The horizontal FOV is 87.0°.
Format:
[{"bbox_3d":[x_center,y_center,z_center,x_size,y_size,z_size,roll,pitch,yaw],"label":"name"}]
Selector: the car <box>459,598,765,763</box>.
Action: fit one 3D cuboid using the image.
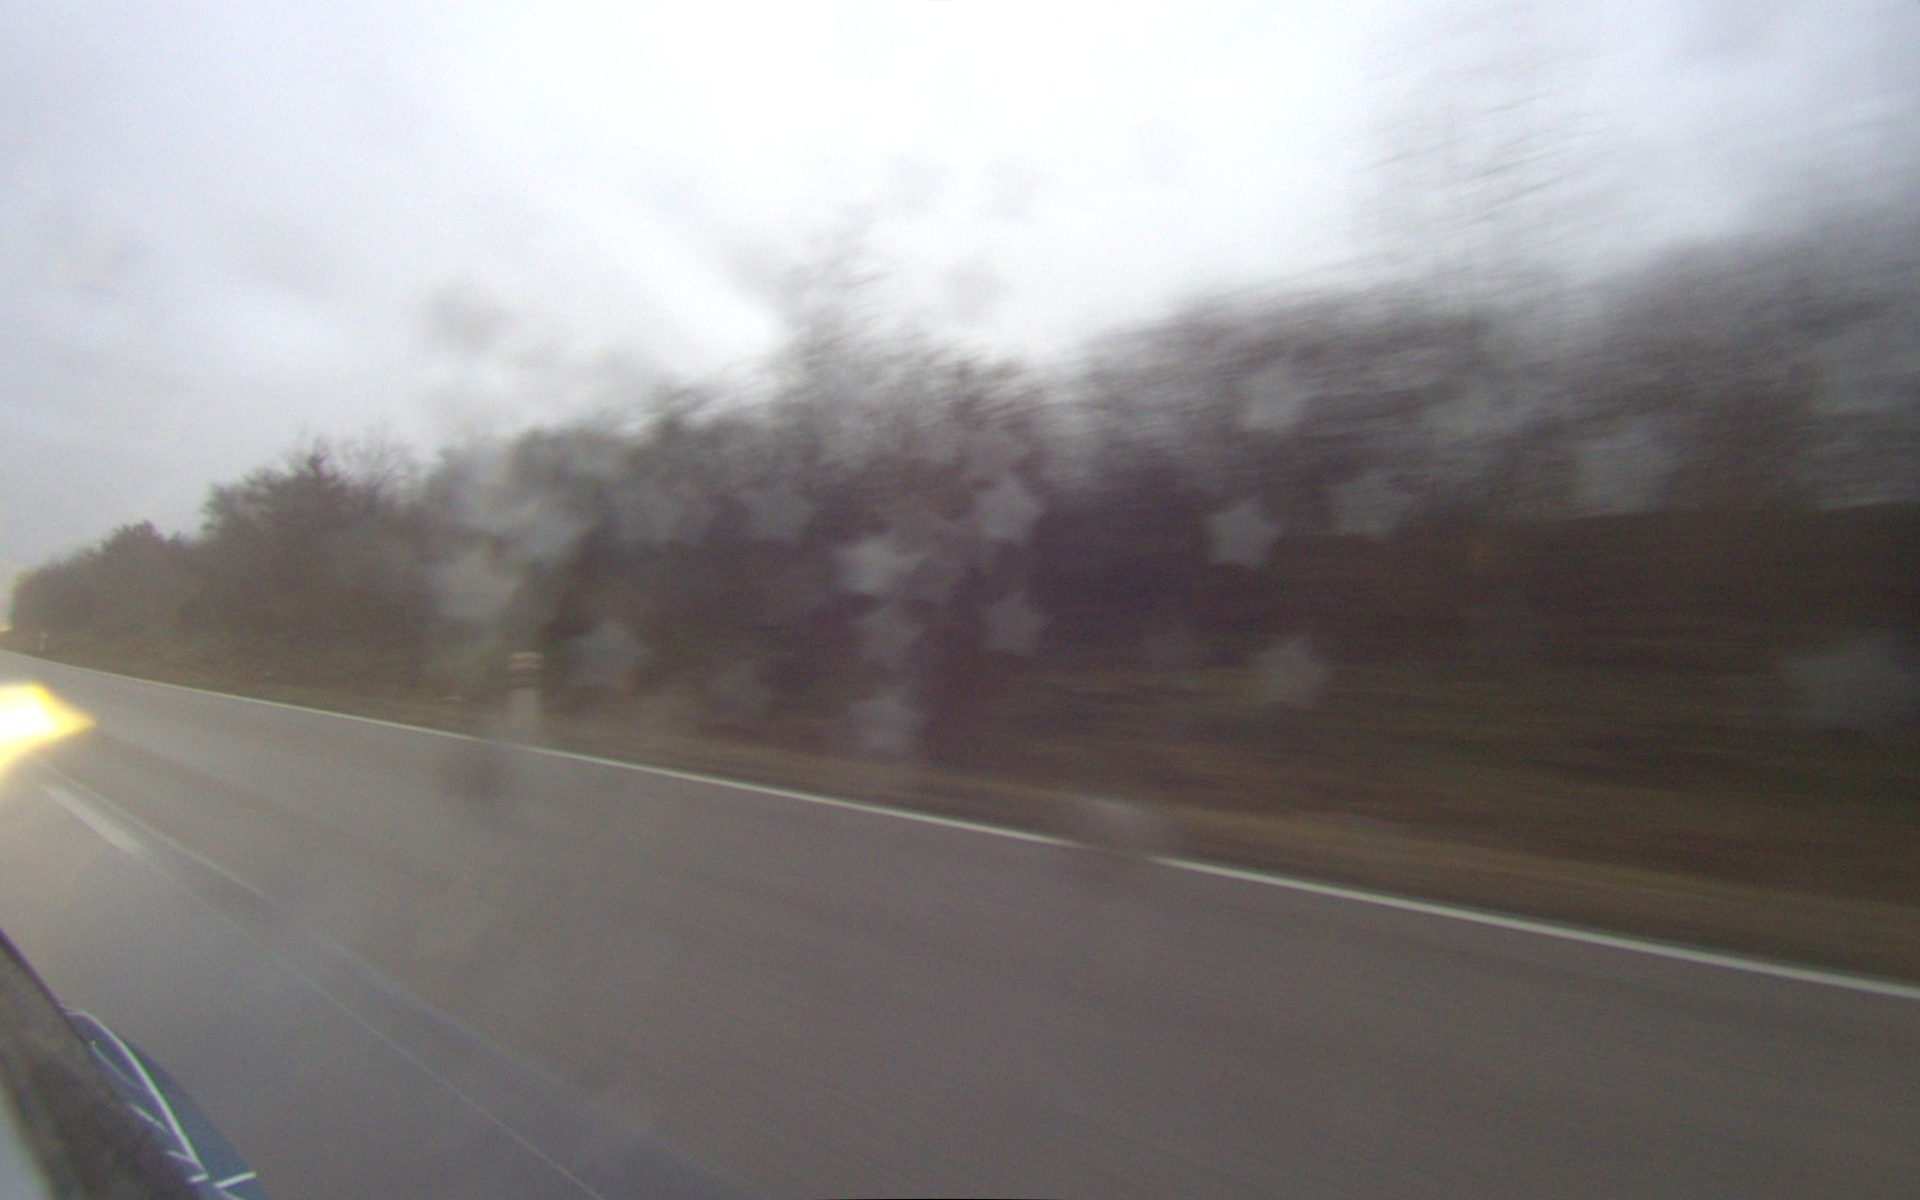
[{"bbox_3d":[-4.177,0.840,11.915,3.772,1.621,1.757,-1,-2,41],"label":"car"}]
